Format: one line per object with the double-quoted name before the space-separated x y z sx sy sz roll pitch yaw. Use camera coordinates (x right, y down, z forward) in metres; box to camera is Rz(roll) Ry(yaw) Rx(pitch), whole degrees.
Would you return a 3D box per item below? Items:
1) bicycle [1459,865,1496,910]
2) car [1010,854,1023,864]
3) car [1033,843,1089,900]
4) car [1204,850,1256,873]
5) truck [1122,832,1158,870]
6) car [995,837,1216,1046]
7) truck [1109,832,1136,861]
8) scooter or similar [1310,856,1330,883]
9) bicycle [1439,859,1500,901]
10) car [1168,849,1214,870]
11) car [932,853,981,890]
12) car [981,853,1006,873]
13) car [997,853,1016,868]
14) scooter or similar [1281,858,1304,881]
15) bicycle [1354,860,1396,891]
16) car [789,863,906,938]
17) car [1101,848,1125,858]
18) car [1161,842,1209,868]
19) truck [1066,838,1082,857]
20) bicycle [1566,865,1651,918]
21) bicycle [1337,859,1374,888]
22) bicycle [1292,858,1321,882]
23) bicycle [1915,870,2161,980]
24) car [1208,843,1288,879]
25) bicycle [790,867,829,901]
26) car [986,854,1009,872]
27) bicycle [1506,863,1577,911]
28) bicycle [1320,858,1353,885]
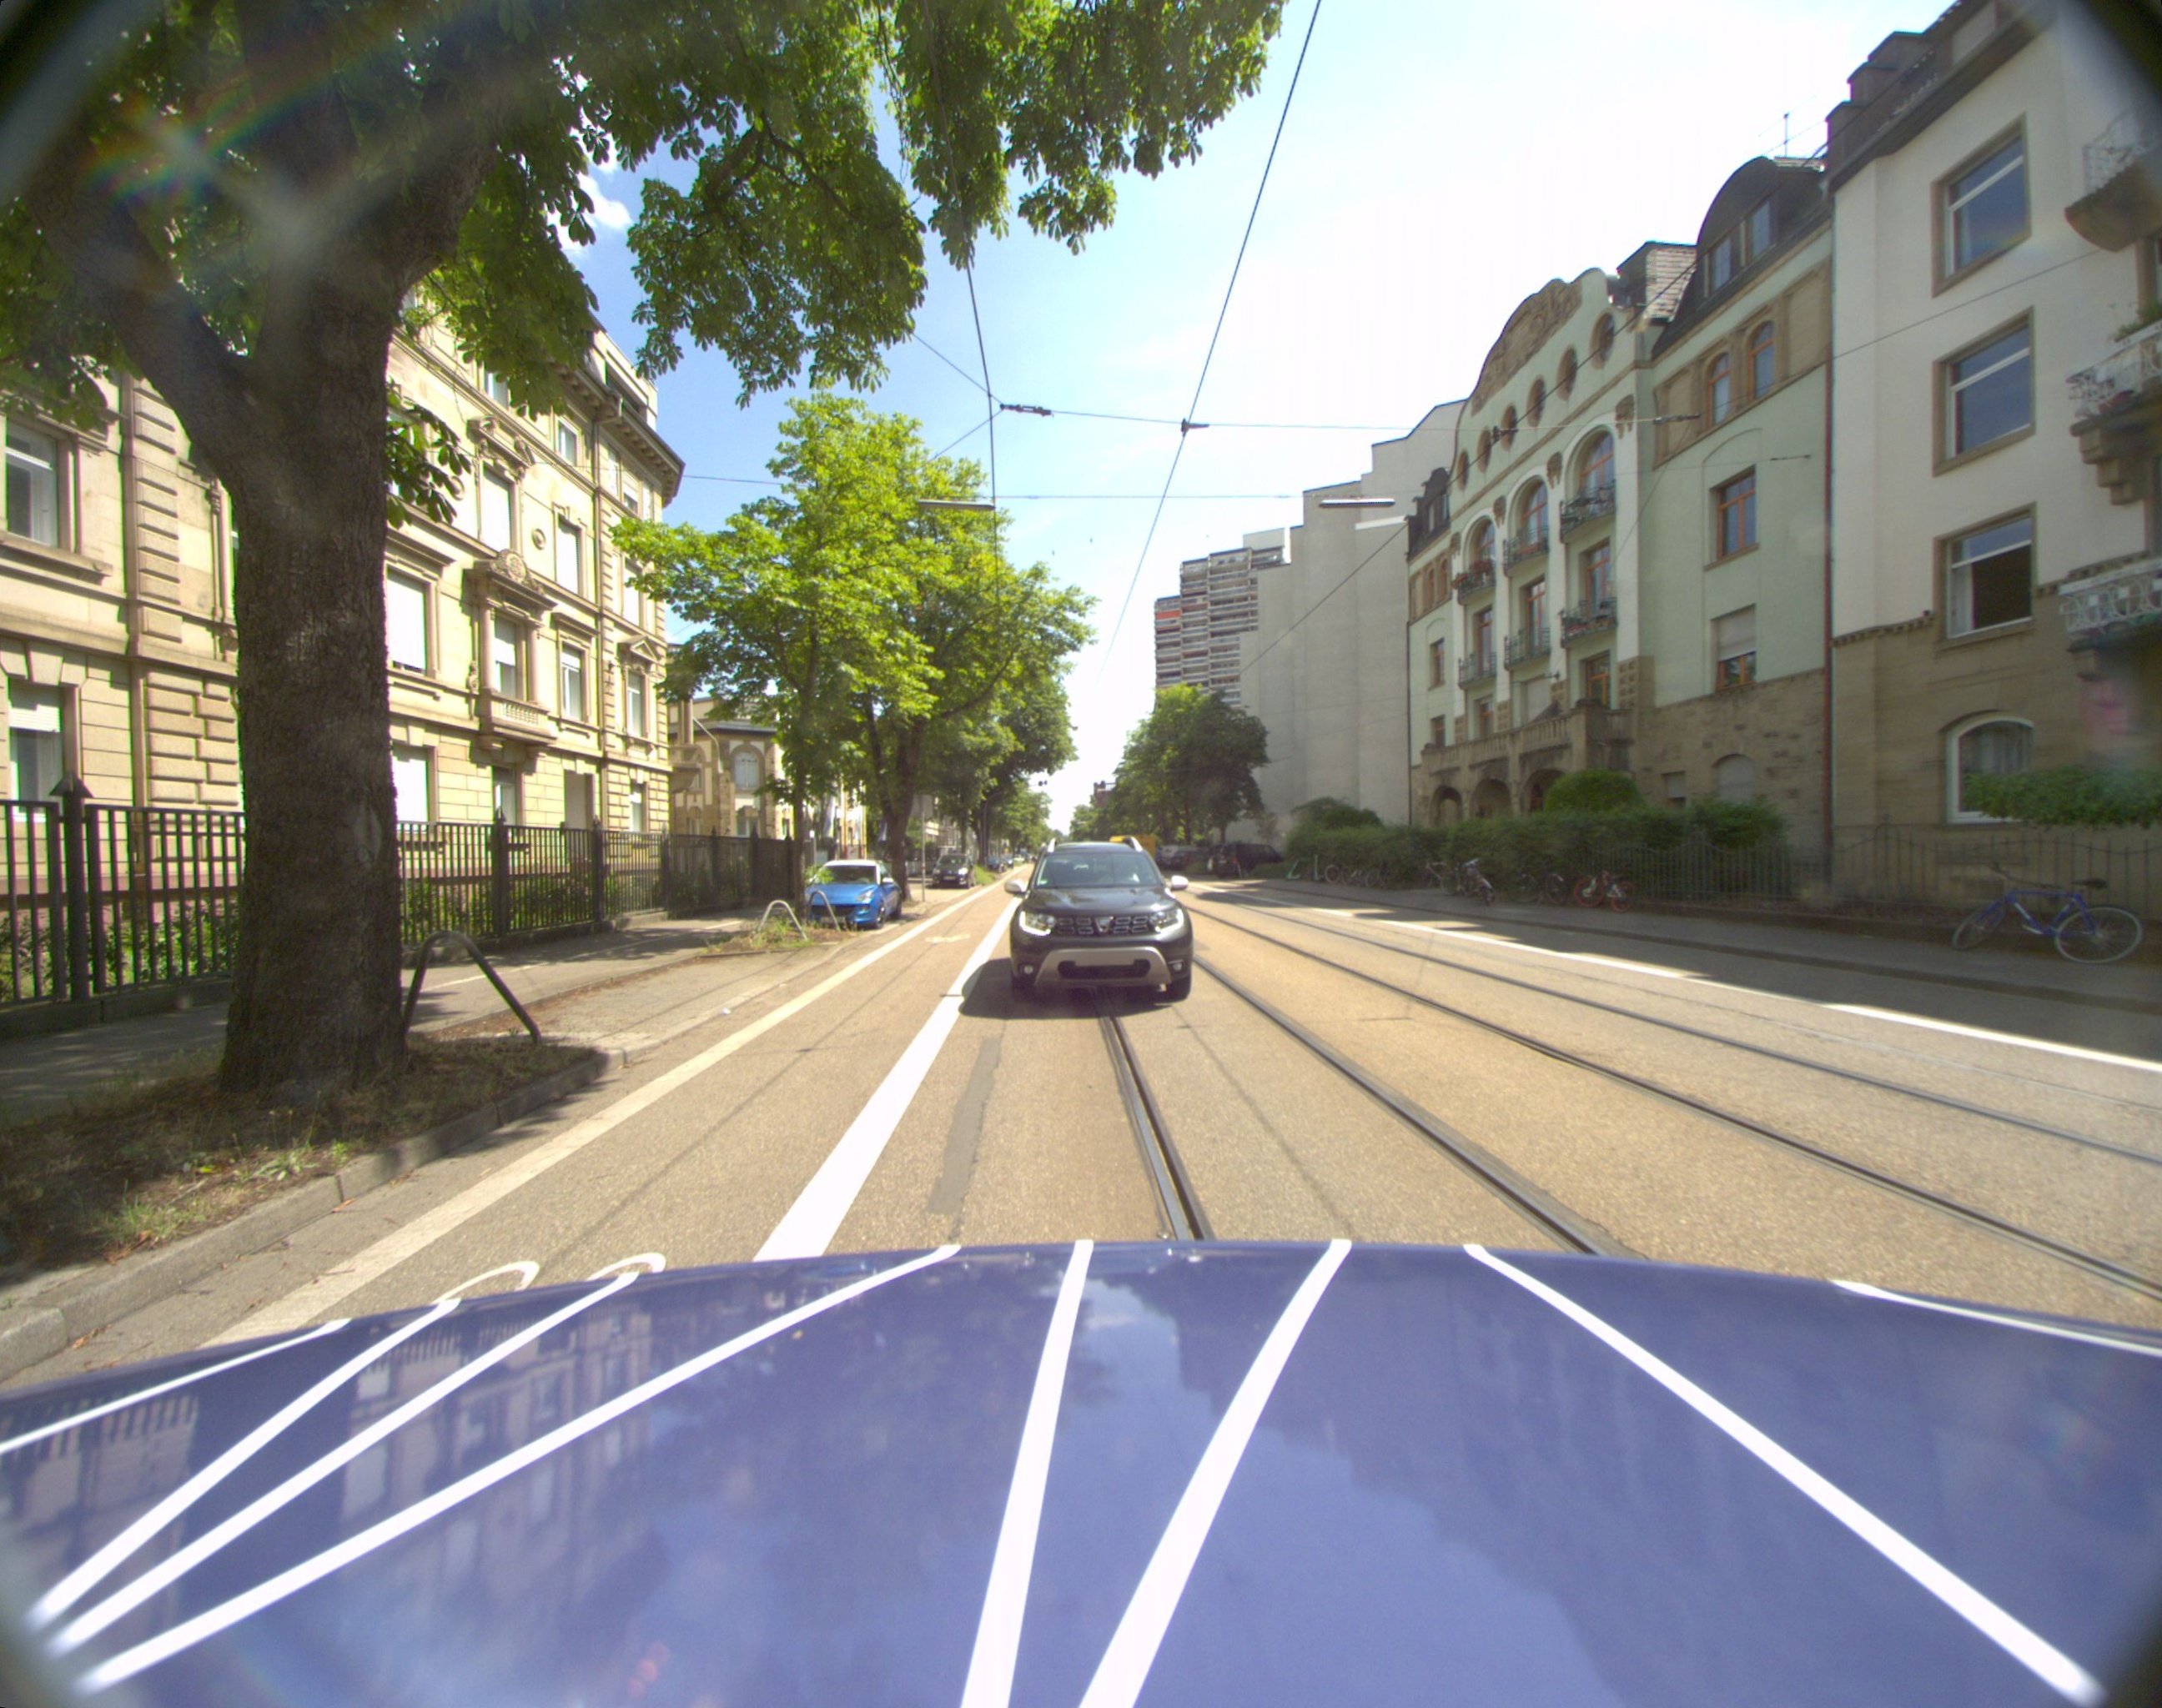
"bicycle" 9.541 0.770 18.268 0.608 0.993 1.778 0 1 33
"car" -9.471 0.660 111.406 1.626 1.395 3.999 1 0 -2
"car" -0.733 0.568 27.545 1.753 1.806 4.307 -3 0 -2
"car" 9.729 0.473 49.559 1.721 1.445 3.635 0 1 42
"truck" 4.847 -0.252 63.182 2.307 2.903 6.514 -1 0 -1
"car" 0.122 0.709 8.384 1.753 1.641 4.296 -2 0 -2
"truck" 6.563 -1.168 117.732 2.672 4.155 10.481 -1 0 11
"scooter or similar" 9.966 0.635 31.745 0.407 1.113 1.290 -1 1 -1
"bicycle" 10.494 0.692 20.599 0.609 1.026 1.771 -5 0 -3
"car" 8.570 0.377 59.034 3.692 1.566 1.678 -1 1 -45
"car" -5.852 0.771 36.060 1.734 1.607 4.083 1 0 -2
"car" -6.678 0.660 58.115 1.626 1.395 3.822 1 0 -2
"car" -7.551 0.620 76.988 1.626 1.395 3.999 1 0 -2
"scooter or similar" 9.762 0.699 35.077 0.407 1.014 1.222 -1 1 -18
"bicycle" 10.104 0.718 26.173 0.609 0.970 1.771 -5 0 -3
"car" -5.141 0.955 17.166 1.696 1.444 3.472 -1 0 -3
"car" 6.160 -0.255 147.735 4.338 1.797 1.995 -1 1 -35
"car" 8.584 0.045 62.524 4.061 2.030 1.598 -1 1 -43
"truck" -1.335 -1.302 148.230 2.792 3.598 8.255 -1 0 0
"bicycle" 10.701 0.727 15.484 0.414 0.960 1.725 -4 1 -2
"bicycle" 10.119 0.688 28.035 0.609 0.983 1.707 -5 0 -3
"bicycle" 9.903 0.696 33.393 0.609 0.983 1.707 -5 0 -3
"bicycle" 10.979 0.756 8.790 0.609 1.058 1.771 -5 0 -3
"car" 9.472 0.352 42.994 4.595 1.914 1.957 -1 1 -39
"bicycle" -9.288 1.001 26.089 0.609 1.065 1.980 -1 0 0
"car" -7.003 0.728 64.320 1.626 1.395 3.999 1 0 -2
"bicycle" 10.453 0.726 17.317 0.465 0.993 1.707 -4 1 -2
"bicycle" 10.059 0.683 29.983 0.609 0.983 1.707 -5 0 -3
